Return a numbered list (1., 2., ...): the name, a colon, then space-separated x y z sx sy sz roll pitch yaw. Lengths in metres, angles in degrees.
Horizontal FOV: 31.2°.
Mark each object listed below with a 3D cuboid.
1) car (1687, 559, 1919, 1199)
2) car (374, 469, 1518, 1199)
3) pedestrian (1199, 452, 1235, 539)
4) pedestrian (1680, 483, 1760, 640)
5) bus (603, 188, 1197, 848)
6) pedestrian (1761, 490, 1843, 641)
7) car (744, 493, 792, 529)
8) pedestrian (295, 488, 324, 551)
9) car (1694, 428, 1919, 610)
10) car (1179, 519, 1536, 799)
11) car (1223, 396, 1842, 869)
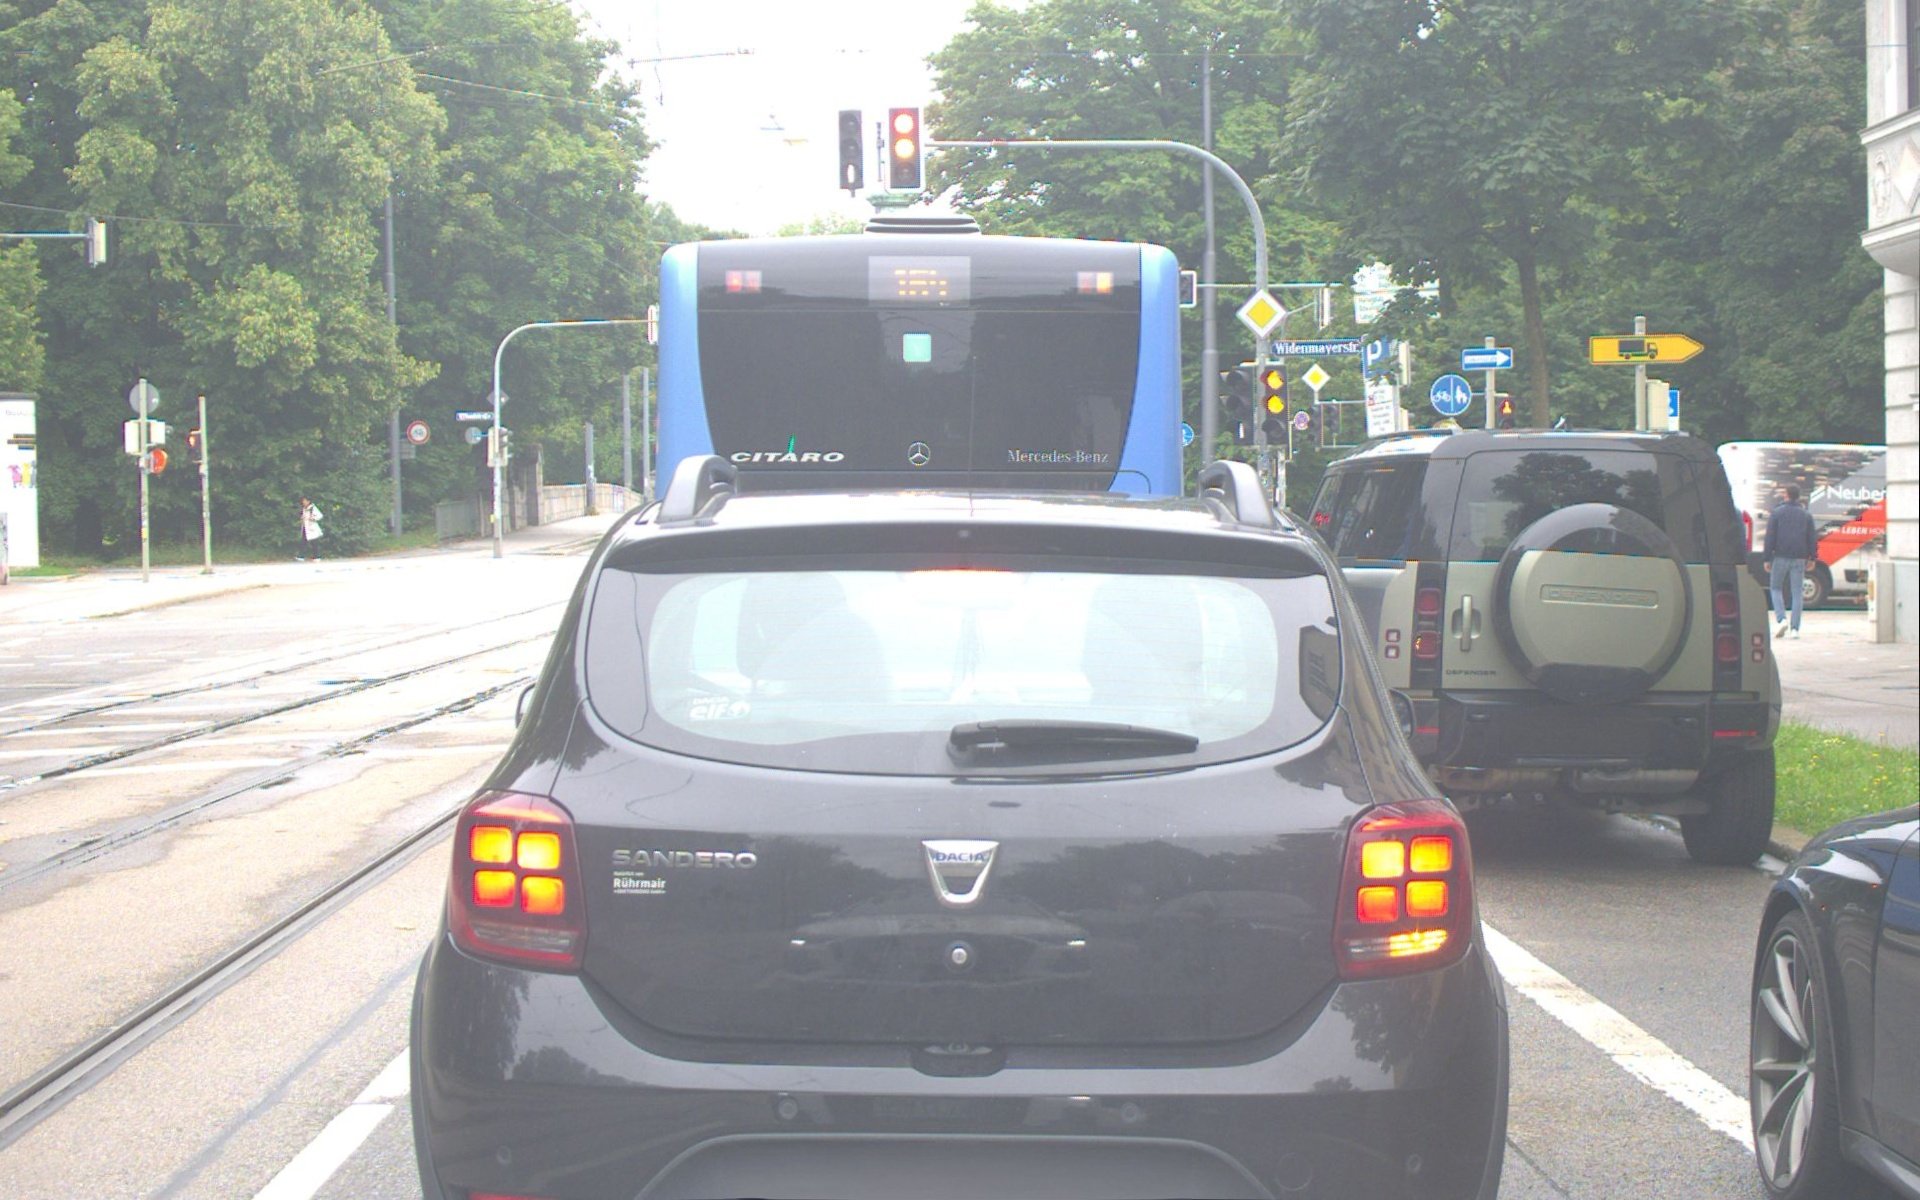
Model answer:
1. car: 2.643 0.674 5.859 1.716 1.421 4.603 1 1 -1
2. car: -0.059 0.573 6.641 1.600 1.551 3.525 1 1 -1
3. pedestrian: 6.296 -2.557 84.207 0.762 2.109 0.853 -1 2 0
4. pedestrian: 8.965 -0.458 40.578 0.705 1.810 0.870 1 1 -1
5. bus: -0.421 -0.439 19.321 2.678 2.987 6.962 1 1 -2
6. pedestrian: 9.791 -0.402 39.987 0.705 1.726 0.843 1 1 -1
7. car: -7.608 -3.511 136.584 1.787 1.365 3.400 1 1 -2
8. pedestrian: -15.578 -1.936 82.373 0.532 1.496 0.588 1 1 4
9. car: 13.934 -1.176 51.446 5.295 2.603 2.231 1 1 -3
10. car: 2.437 0.304 22.059 1.714 1.586 4.327 1 1 -1
11. car: 2.529 0.089 16.472 1.914 1.899 4.809 1 1 -3
